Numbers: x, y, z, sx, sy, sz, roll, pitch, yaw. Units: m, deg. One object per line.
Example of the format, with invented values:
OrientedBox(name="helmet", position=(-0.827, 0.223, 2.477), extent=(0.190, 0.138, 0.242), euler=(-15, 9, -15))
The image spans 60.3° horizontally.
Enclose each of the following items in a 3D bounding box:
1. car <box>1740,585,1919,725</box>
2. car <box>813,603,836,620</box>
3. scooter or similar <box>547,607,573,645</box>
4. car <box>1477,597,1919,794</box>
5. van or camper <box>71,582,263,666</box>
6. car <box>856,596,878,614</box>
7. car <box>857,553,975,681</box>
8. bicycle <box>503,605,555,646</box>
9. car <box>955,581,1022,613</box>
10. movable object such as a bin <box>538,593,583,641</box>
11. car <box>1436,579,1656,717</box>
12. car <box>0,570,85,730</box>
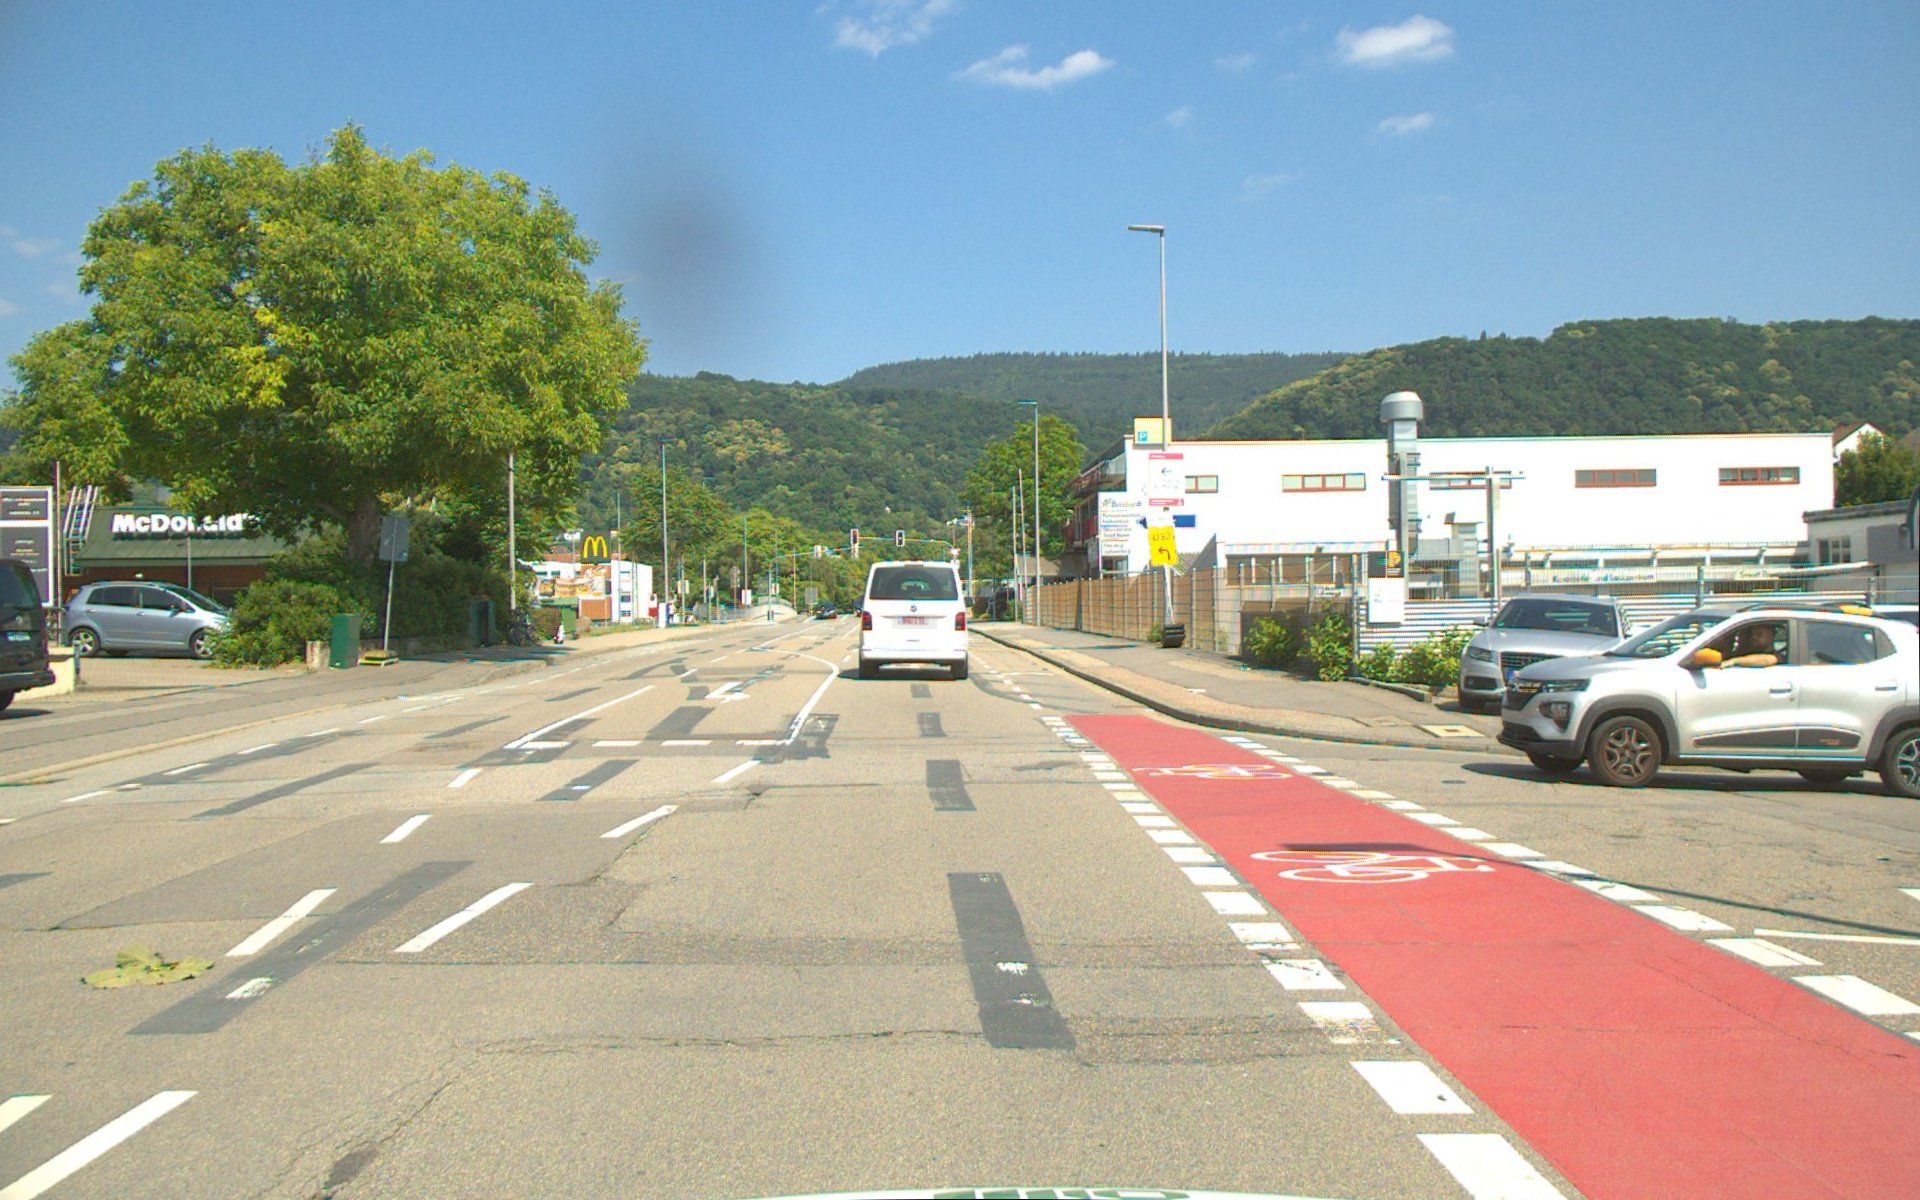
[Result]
OrientedBox(name="car", position=(11.446, 0.594, 19.890), extent=(1.811, 1.530, 4.503), euler=(-1, 0, -3))
OrientedBox(name="car", position=(-11.844, 1.023, 144.846), extent=(1.954, 1.394, 4.323), euler=(-2, 0, -4))
OrientedBox(name="scooter or similar", position=(-12.604, 0.804, 52.157), extent=(0.635, 1.147, 1.620), euler=(2, 0, -9))
OrientedBox(name="car", position=(6.390, 0.742, 13.826), extent=(3.591, 1.510, 1.727), euler=(0, 0, -2))
OrientedBox(name="van or camper", position=(-17.063, 0.497, 35.696), extent=(3.323, 1.694, 1.633), euler=(1, 0, -1))
OrientedBox(name="car", position=(-8.411, 0.431, 149.578), extent=(1.812, 1.616, 3.998), euler=(-2, 0, -2))
OrientedBox(name="car", position=(-0.859, 0.279, 29.578), extent=(1.896, 2.095, 4.540), euler=(0, 0, -4))
OrientedBox(name="bicycle", position=(-12.596, 0.724, 48.420), extent=(1.007, 1.137, 2.763), euler=(1, 0, -5))
OrientedBox(name="car", position=(1.717, -0.176, 99.895), extent=(3.903, 1.806, 2.001), euler=(-2, 0, 3))
OrientedBox(name="movable object such as a bin", position=(-13.960, 0.574, 57.828), extent=(1.422, 1.618, 1.304), euler=(-2, 0, -11))
OrientedBox(name="car", position=(7.194, 0.577, 20.015), extent=(1.914, 1.382, 4.492), euler=(3, -1, 27))
OrientedBox(name="car", position=(-13.580, 0.599, 20.374), extent=(4.480, 1.898, 2.089), euler=(0, 0, -8))
